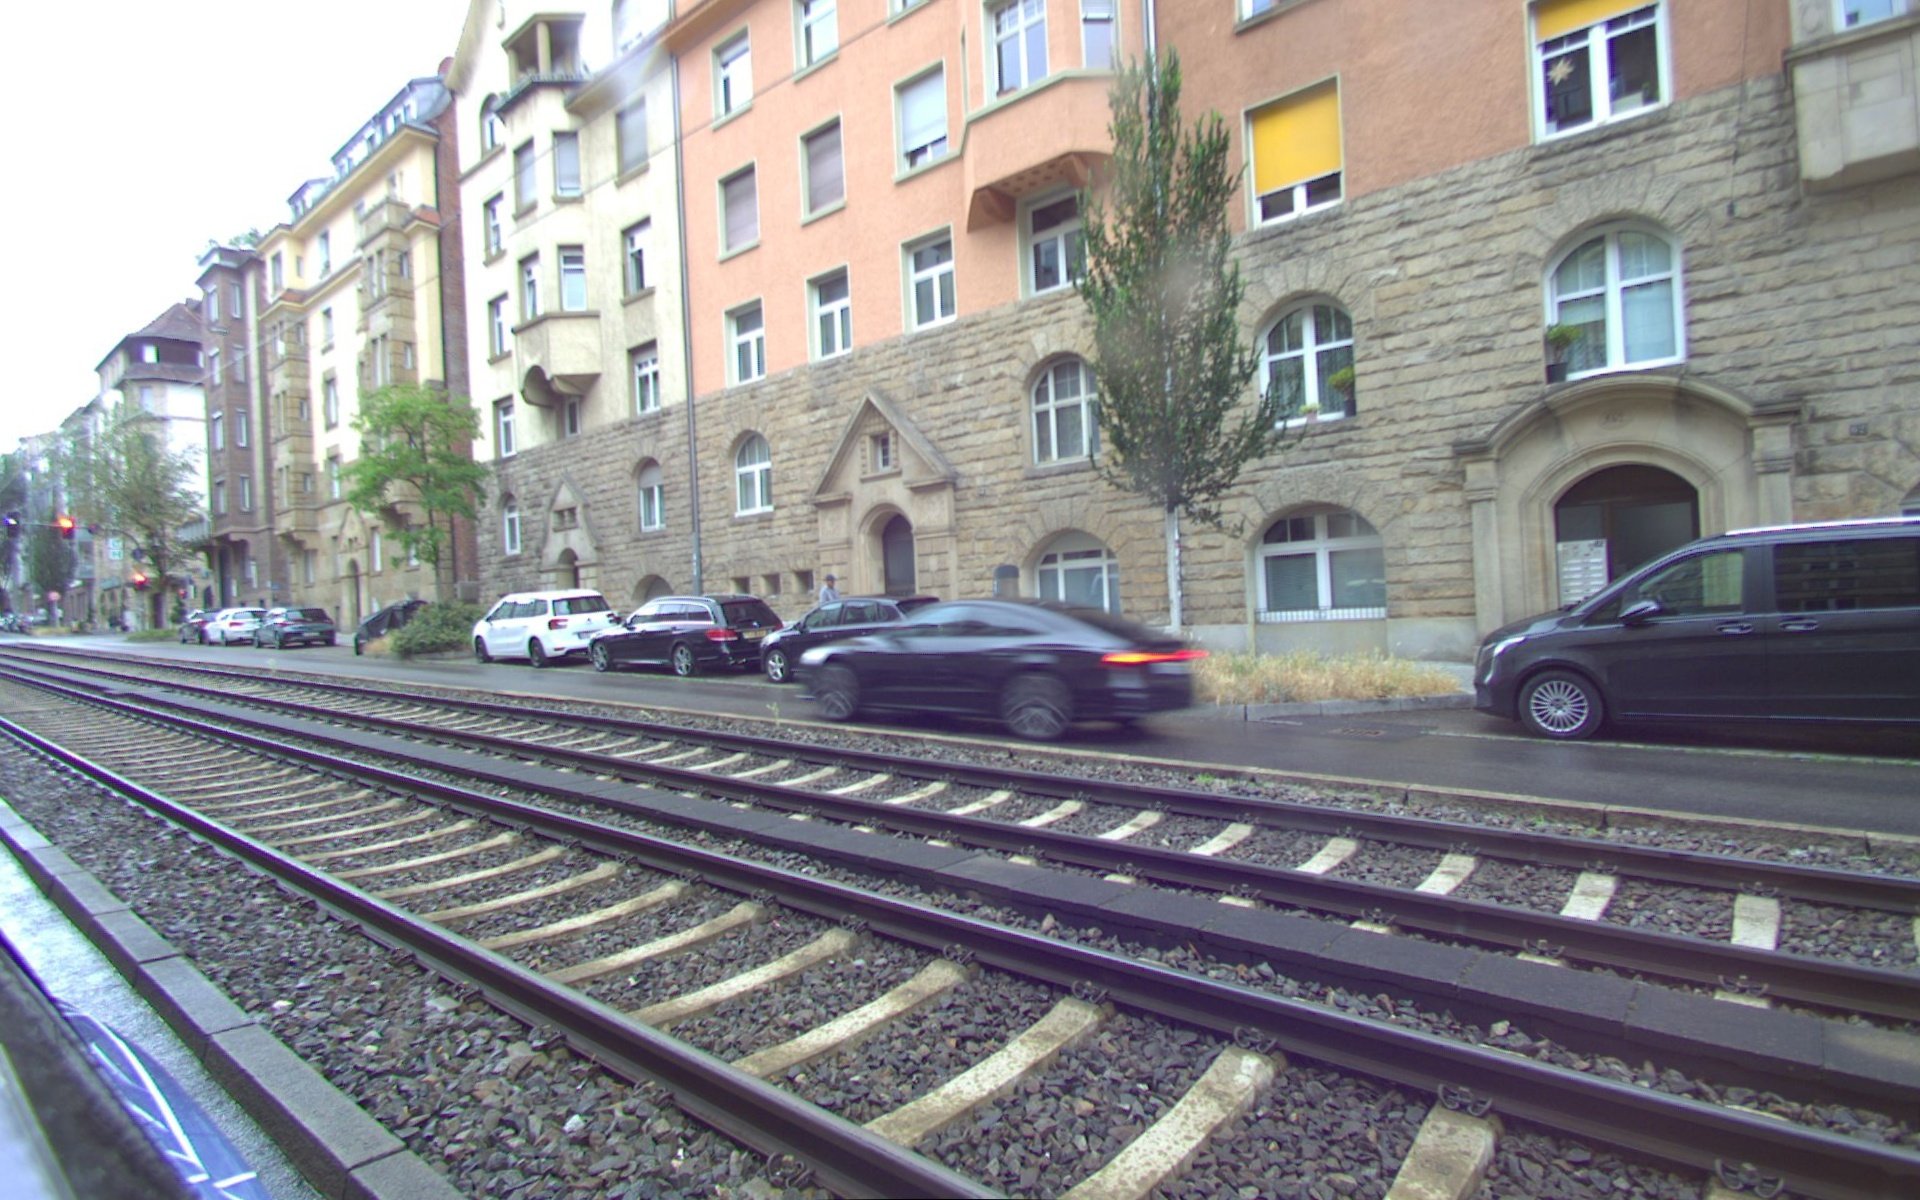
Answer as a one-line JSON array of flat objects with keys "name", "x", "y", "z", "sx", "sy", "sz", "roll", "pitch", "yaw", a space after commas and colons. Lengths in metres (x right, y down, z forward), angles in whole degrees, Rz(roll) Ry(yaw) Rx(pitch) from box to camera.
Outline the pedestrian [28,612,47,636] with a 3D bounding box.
[{"name": "pedestrian", "x": -76.533, "y": 1.992, "z": 83.970, "sx": 1.163, "sy": 1.972, "sz": 1.042, "roll": -2, "pitch": 0, "yaw": 43}]

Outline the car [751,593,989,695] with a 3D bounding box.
[{"name": "car", "x": -1.551, "y": 0.676, "z": 16.908, "sx": 3.638, "sy": 1.508, "sz": 1.912, "roll": -1, "pitch": 0, "yaw": 38}]

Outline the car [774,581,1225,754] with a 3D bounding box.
[{"name": "car", "x": 0.235, "y": 0.633, "z": 11.282, "sx": 4.960, "sy": 1.535, "sz": 1.785, "roll": -1, "pitch": 0, "yaw": 40}]

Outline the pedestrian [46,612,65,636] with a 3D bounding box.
[{"name": "pedestrian", "x": -75.822, "y": 1.987, "z": 84.812, "sx": 1.163, "sy": 1.972, "sz": 1.042, "roll": -2, "pitch": 0, "yaw": 43}]

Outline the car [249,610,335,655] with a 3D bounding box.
[{"name": "car", "x": -23.680, "y": 1.113, "z": 35.849, "sx": 3.845, "sy": 1.452, "sz": 1.656, "roll": -1, "pitch": 1, "yaw": 43}]

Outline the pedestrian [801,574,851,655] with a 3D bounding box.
[{"name": "pedestrian", "x": -2.792, "y": 0.296, "z": 21.124, "sx": 0.765, "sy": 1.654, "sz": 0.692, "roll": -1, "pitch": 0, "yaw": 41}]

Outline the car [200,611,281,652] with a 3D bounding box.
[{"name": "car", "x": -28.282, "y": 1.231, "z": 39.752, "sx": 4.030, "sy": 1.452, "sz": 1.748, "roll": -1, "pitch": 1, "yaw": 42}]

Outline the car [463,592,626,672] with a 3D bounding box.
[{"name": "car", "x": -9.740, "y": 0.712, "z": 23.602, "sx": 4.144, "sy": 1.668, "sz": 1.843, "roll": -1, "pitch": 0, "yaw": 41}]

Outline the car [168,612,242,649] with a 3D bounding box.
[{"name": "car", "x": -32.141, "y": 1.287, "z": 43.074, "sx": 3.843, "sy": 1.452, "sz": 1.748, "roll": -1, "pitch": 0, "yaw": 41}]

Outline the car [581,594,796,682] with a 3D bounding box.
[{"name": "car", "x": -5.433, "y": 0.706, "z": 19.929, "sx": 4.599, "sy": 1.506, "sz": 1.824, "roll": -1, "pitch": 0, "yaw": 41}]

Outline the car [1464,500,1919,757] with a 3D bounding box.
[{"name": "car", "x": 7.352, "y": 0.218, "z": 8.974, "sx": 4.823, "sy": 1.956, "sz": 1.973, "roll": -1, "pitch": 0, "yaw": 41}]

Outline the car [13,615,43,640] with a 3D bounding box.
[{"name": "car", "x": -69.041, "y": 2.031, "z": 74.959, "sx": 1.561, "sy": 1.691, "sz": 3.794, "roll": -2, "pitch": 2, "yaw": -43}]

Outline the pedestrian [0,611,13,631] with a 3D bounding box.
[{"name": "pedestrian", "x": -96.699, "y": 2.162, "z": 102.287, "sx": 1.379, "sy": 1.972, "sz": 1.362, "roll": -1, "pitch": 0, "yaw": 43}]

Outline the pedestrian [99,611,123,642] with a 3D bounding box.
[{"name": "pedestrian", "x": -56.728, "y": 1.754, "z": 67.587, "sx": 1.163, "sy": 1.972, "sz": 1.042, "roll": -2, "pitch": 0, "yaw": 43}]

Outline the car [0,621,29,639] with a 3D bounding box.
[{"name": "car", "x": -74.290, "y": 2.322, "z": 79.323, "sx": 3.843, "sy": 1.321, "sz": 1.563, "roll": -1, "pitch": 0, "yaw": 41}]

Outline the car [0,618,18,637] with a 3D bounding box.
[{"name": "car", "x": -80.917, "y": 2.333, "z": 85.396, "sx": 3.843, "sy": 1.527, "sz": 1.748, "roll": -1, "pitch": 0, "yaw": 41}]
